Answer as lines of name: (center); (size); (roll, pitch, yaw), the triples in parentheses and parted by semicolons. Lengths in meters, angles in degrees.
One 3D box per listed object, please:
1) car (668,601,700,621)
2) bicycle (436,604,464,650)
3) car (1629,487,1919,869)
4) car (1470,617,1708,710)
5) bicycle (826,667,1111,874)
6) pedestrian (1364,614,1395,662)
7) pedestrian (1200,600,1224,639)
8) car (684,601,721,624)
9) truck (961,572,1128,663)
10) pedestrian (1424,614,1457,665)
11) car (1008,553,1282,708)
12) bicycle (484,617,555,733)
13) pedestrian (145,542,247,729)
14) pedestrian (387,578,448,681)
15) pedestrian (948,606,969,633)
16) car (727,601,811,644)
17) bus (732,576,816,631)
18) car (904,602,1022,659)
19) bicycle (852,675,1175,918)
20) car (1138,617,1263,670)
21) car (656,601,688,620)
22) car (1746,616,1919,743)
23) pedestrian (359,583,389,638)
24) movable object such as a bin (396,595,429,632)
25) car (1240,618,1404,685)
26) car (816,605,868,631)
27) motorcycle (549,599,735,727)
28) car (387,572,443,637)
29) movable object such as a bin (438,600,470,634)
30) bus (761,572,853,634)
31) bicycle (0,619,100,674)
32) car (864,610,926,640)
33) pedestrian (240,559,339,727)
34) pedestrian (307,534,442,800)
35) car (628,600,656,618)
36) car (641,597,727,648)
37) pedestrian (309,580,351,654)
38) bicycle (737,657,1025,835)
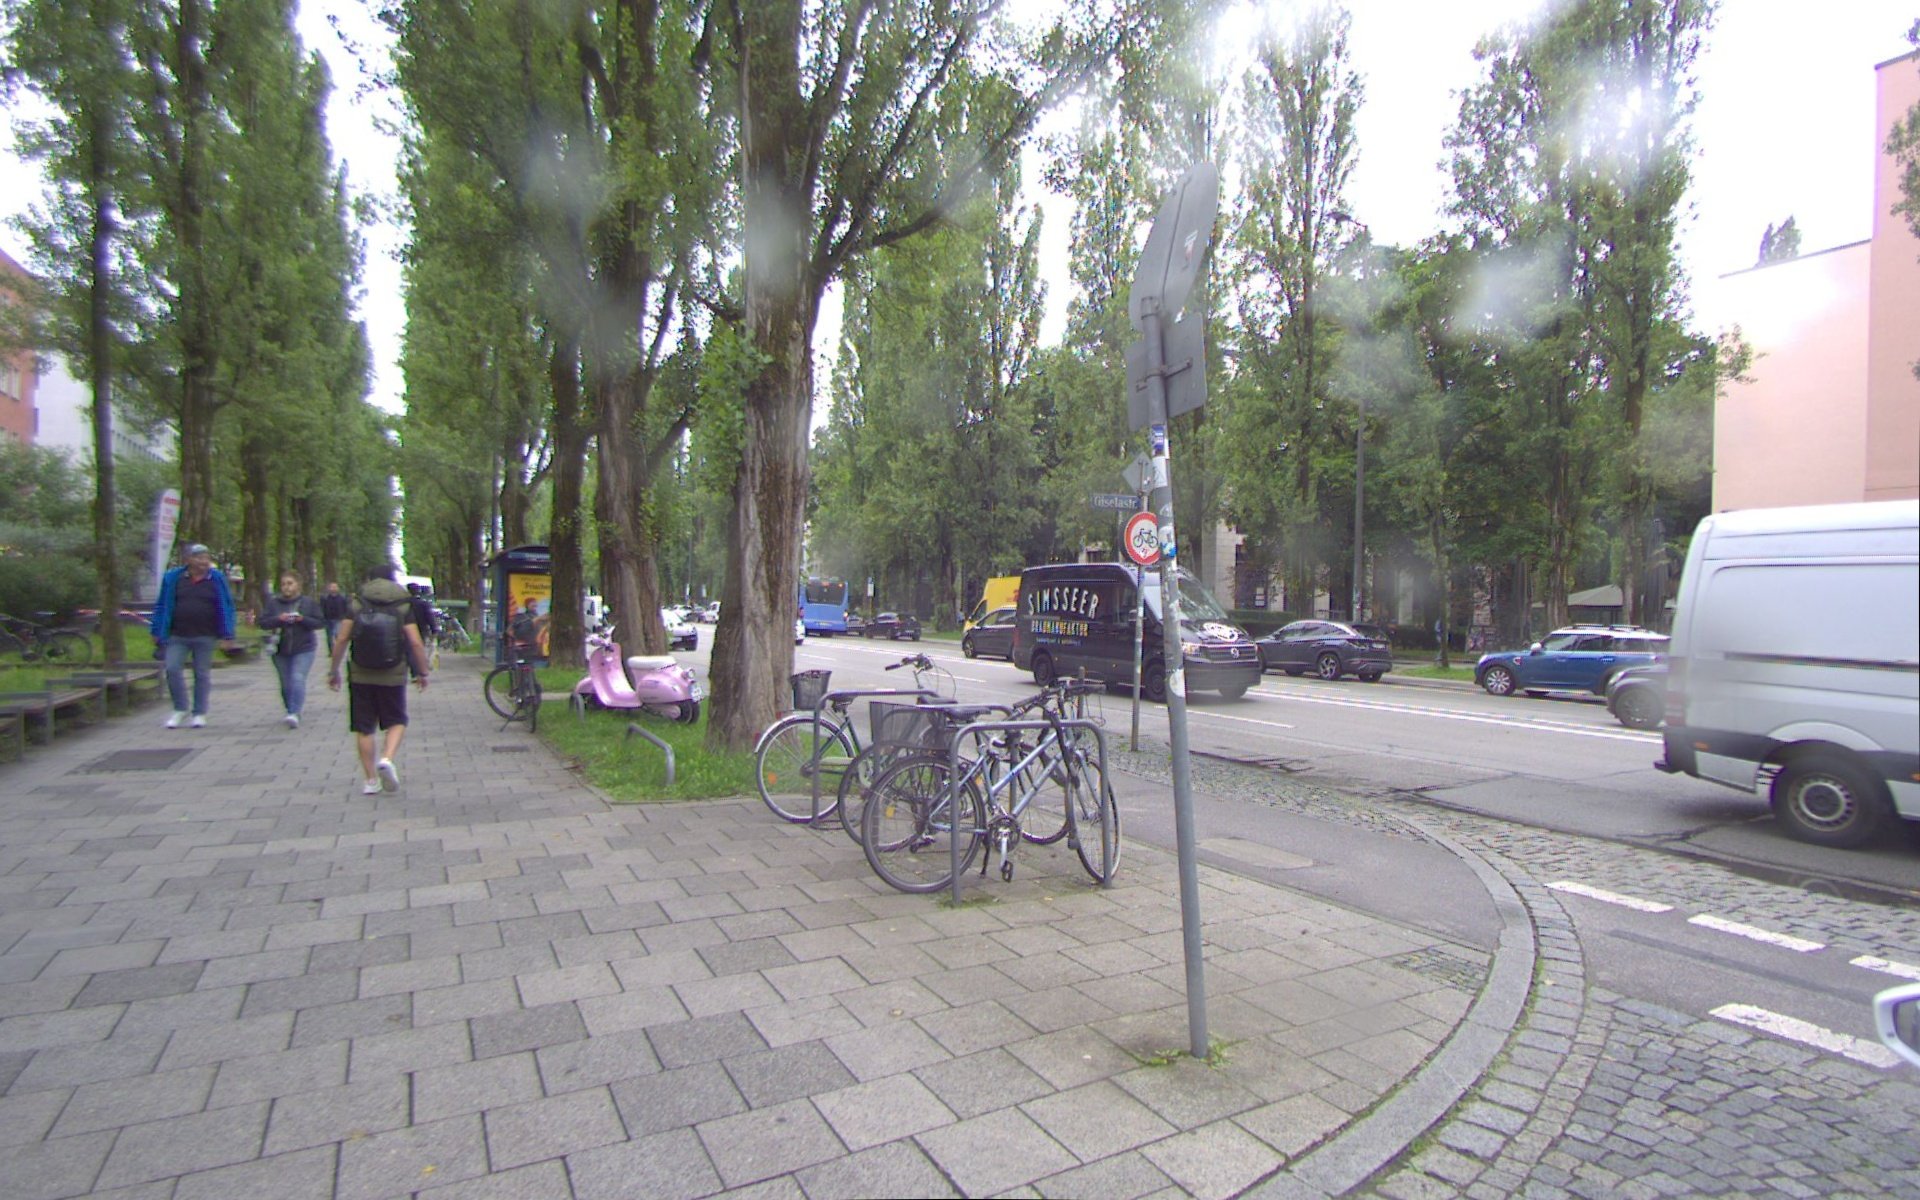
car: (-25.505, 1.011, 92.713); (1.976, 1.745, 4.089); (3, -1, -29)
bicycle: (-14.050, 0.734, 27.651); (0.576, 1.204, 2.125); (1, 0, -29)
car: (8.149, 0.543, 6.633); (2.022, 2.687, 5.995); (0, 0, -29)
car: (13.615, 1.328, 21.990); (1.773, 1.754, 4.045); (3, -1, -31)
bicycle: (0.072, 0.981, 6.128); (1.680, 1.108, 0.488); (1, 0, -25)
pedestrian: (15.480, 1.398, 37.073); (0.700, 1.736, 0.726); (1, 0, -29)
pedestrian: (11.521, 0.900, 45.938); (0.700, 1.736, 0.726); (1, 0, -29)
car: (-21.559, 1.011, 84.071); (1.976, 1.745, 4.089); (3, -1, -29)
truck: (2.838, 0.590, 36.283); (2.569, 2.946, 7.027); (1, 0, -28)
pedestrian: (16.683, 1.356, 34.893); (0.700, 1.736, 0.726); (1, 0, -29)
car: (3.379, 0.503, 19.860); (2.058, 2.590, 5.884); (0, 0, -30)
bicycle: (-5.104, 0.820, 11.590); (0.576, 1.204, 1.603); (1, 0, -29)
pedestrian: (-8.257, 0.372, 10.865); (0.634, 1.933, 0.701); (1, 0, 36)
pedestrian: (-9.454, 0.504, 17.490); (0.849, 1.734, 0.951); (1, 0, -31)
pedestrian: (-0.089, 1.288, 65.146); (1.018, 1.736, 0.937); (1, -1, -29)
car: (-7.735, 0.846, 40.365); (1.976, 1.596, 4.601); (0, 0, -30)
bus: (-11.546, 0.232, 61.555); (2.886, 3.092, 9.739); (1, -1, -24)
car: (0.009, 1.001, 34.619); (1.976, 1.745, 4.779); (3, -1, -29)
bicycle: (0.310, 0.978, 5.367); (1.680, 1.108, 0.488); (1, 0, -25)
car: (7.703, 1.369, 32.454); (1.772, 1.431, 3.851); (2, 0, -29)
car: (-27.843, 1.001, 96.998); (1.976, 1.745, 4.779); (3, -1, -29)
car: (12.810, 1.048, 13.001); (1.826, 1.547, 3.725); (2, -1, -28)
pedestrian: (-18.597, 0.323, 31.887); (0.726, 1.715, 0.642); (1, 0, -26)
movable object such as a bin: (-21.345, 0.529, 39.134); (1.052, 1.423, 0.975); (1, 0, -33)
car: (10.006, 1.377, 28.082); (1.772, 1.622, 4.204); (1, 0, -29)
car: (-7.045, 1.076, 59.690); (1.772, 1.431, 3.852); (1, 0, -29)
motorcycle: (-3.694, 0.702, 11.683); (1.952, 1.211, 0.630); (6, 1, 17)
car: (-27.565, 0.207, 50.672); (2.175, 3.057, 5.949); (1, 0, -31)
movable object such as a bin: (-20.279, 0.687, 40.232); (1.052, 1.329, 0.975); (1, -1, -33)
bus: (-8.462, 0.196, 54.430); (2.886, 3.092, 8.469); (1, -1, -23)
bicycle: (-16.262, 0.809, 17.548); (1.782, 0.925, 0.615); (1, 0, -33)
car: (-3.458, 1.311, 53.016); (1.772, 1.431, 3.852); (2, 0, -29)
pedestrian: (-7.305, 0.454, 10.947); (0.634, 1.750, 0.701); (1, 0, 36)
pedestrian: (-4.200, 0.459, 7.263); (0.742, 1.796, 0.701); (1, 0, -25)
car: (-33.987, 0.957, 107.229); (1.976, 1.745, 4.779); (3, -1, -29)
car: (-9.518, 0.745, 34.455); (1.988, 1.601, 3.970); (2, 0, -28)
pedestrian: (-14.830, 0.394, 23.662); (0.726, 1.715, 0.642); (1, 0, -26)
bicycle: (-0.526, 0.969, 7.058); (1.957, 1.108, 0.488); (1, 0, -25)
